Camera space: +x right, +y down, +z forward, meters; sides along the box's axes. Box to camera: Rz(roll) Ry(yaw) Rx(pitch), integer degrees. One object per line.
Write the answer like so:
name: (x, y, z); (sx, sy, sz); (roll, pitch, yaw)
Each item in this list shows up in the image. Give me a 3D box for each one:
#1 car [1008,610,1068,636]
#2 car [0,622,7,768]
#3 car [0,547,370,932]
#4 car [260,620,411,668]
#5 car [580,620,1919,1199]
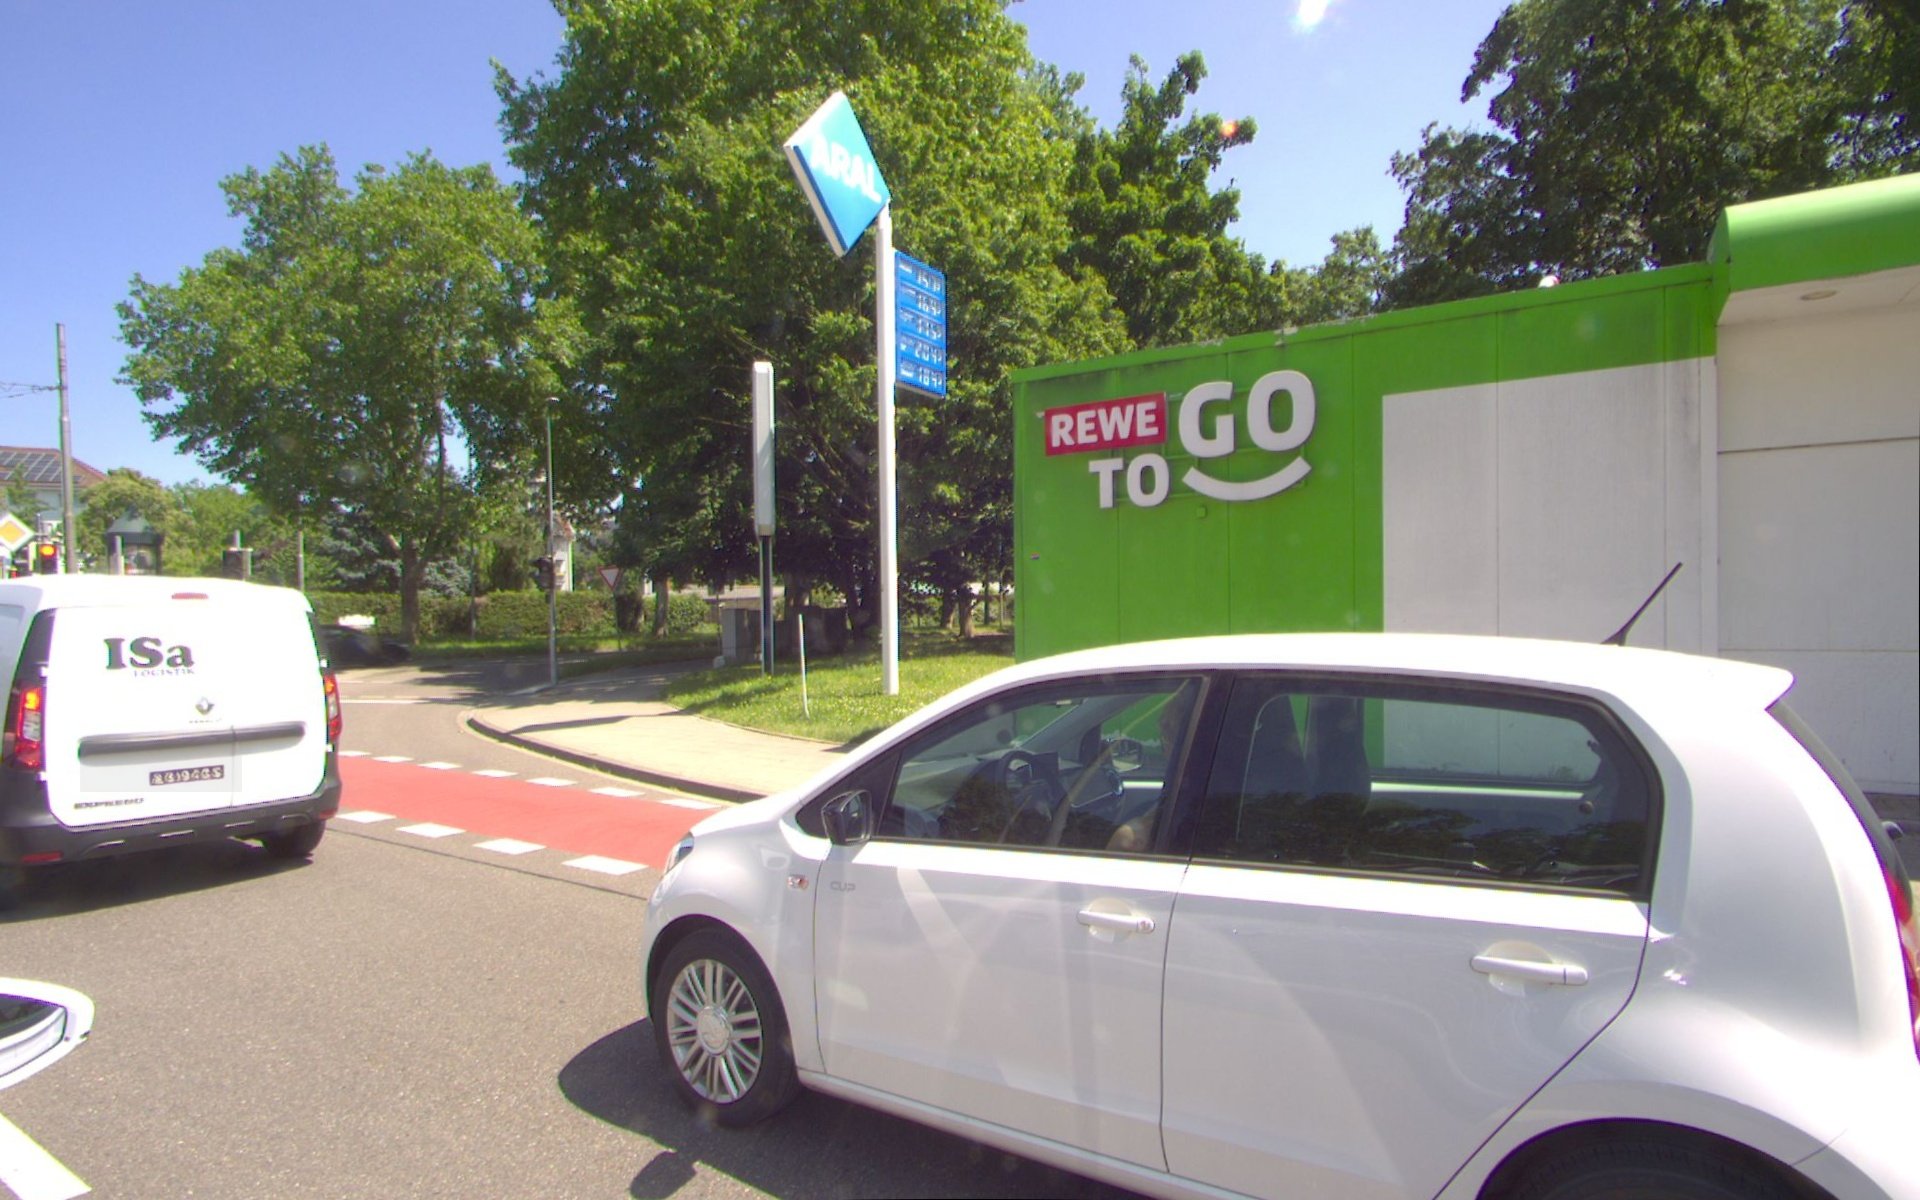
car: (5.099, 1.502, 65.154); (1.976, 1.617, 3.970); (-1, -1, 39)
car: (-11.933, 0.977, 10.619); (3.943, 1.505, 1.753); (-1, -2, 33)
car: (-5.835, 0.717, 6.585); (3.954, 1.854, 1.708); (-1, -1, 31)
car: (-20.051, 1.370, 32.234); (3.845, 1.329, 1.680); (-2, 1, -44)
car: (0.629, 0.809, 3.015); (3.472, 1.470, 1.603); (-1, -2, 34)
